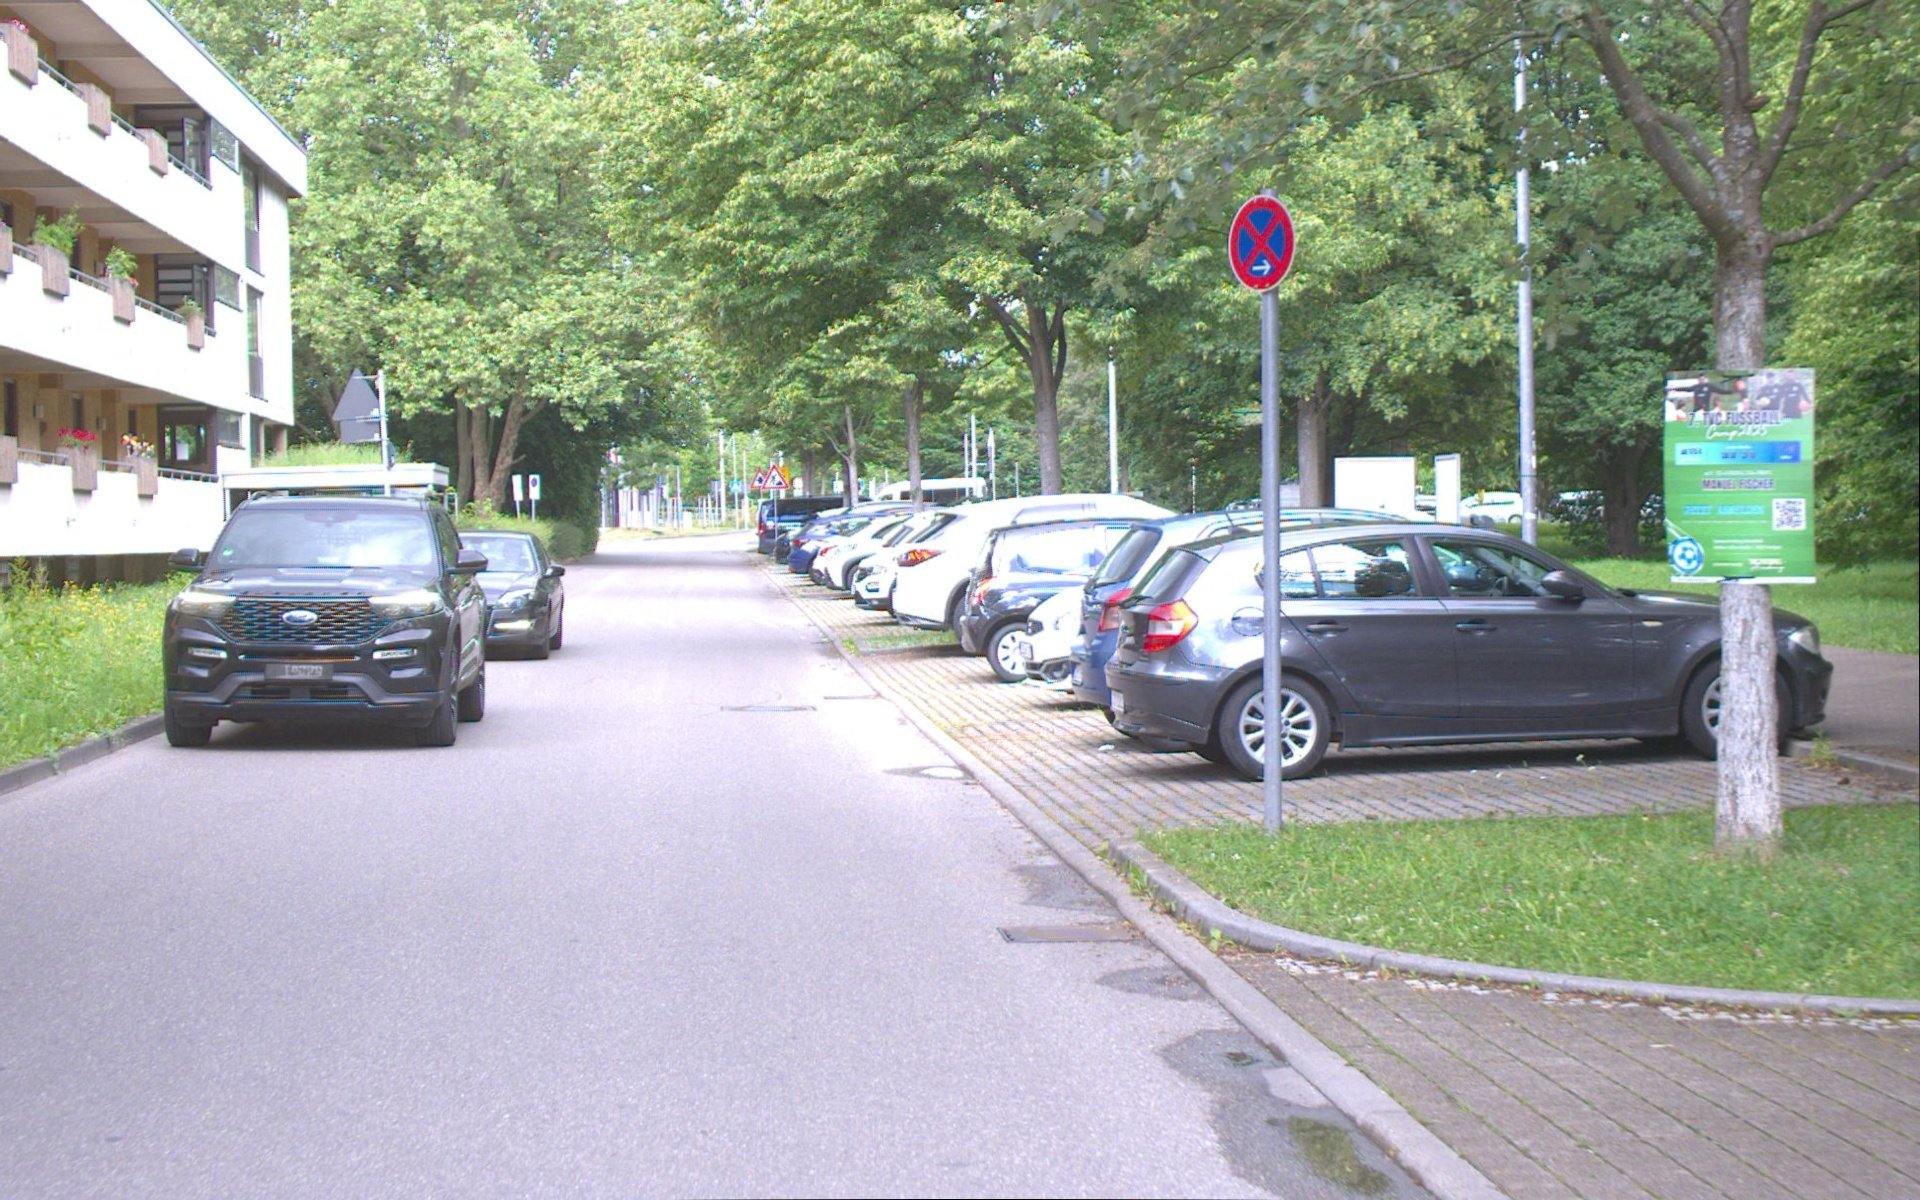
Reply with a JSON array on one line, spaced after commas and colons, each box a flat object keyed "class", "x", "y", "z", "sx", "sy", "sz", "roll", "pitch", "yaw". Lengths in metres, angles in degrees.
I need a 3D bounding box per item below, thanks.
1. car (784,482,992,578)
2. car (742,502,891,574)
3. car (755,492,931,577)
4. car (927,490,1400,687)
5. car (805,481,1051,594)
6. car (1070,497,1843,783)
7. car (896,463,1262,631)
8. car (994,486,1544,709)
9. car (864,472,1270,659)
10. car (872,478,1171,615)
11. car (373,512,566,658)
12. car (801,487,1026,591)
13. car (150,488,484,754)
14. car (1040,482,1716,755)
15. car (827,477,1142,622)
[{"class": "car", "x": -1.520, "y": -1.459, "z": 71.896, "sx": 4.062, "sy": 1.681, "sz": 1.823, "roll": -4, "pitch": 2, "yaw": -8}, {"class": "car", "x": -4.186, "y": -1.805, "z": 100.098, "sx": 4.062, "sy": 1.764, "sz": 1.823, "roll": -4, "pitch": 2, "yaw": -8}, {"class": "car", "x": -2.913, "y": -1.628, "z": 85.084, "sx": 4.062, "sy": 1.764, "sz": 1.823, "roll": -4, "pitch": 2, "yaw": -8}, {"class": "car", "x": 1.870, "y": -0.130, "z": 32.265, "sx": 4.062, "sy": 1.483, "sz": 1.823, "roll": -4, "pitch": 2, "yaw": -8}, {"class": "car", "x": -0.589, "y": -1.116, "z": 61.032, "sx": 4.062, "sy": 1.681, "sz": 1.823, "roll": -4, "pitch": 2, "yaw": -8}, {"class": "car", "x": 2.807, "y": 0.221, "z": 20.064, "sx": 4.062, "sy": 1.429, "sz": 2.000, "roll": -2, "pitch": 0, "yaw": -5}, {"class": "car", "x": 1.402, "y": -0.648, "z": 41.572, "sx": 4.062, "sy": 1.681, "sz": 1.823, "roll": -4, "pitch": 2, "yaw": -8}, {"class": "car", "x": 2.411, "y": -0.048, "z": 27.432, "sx": 4.062, "sy": 1.563, "sz": 1.823, "roll": -2, "pitch": 1, "yaw": -5}, {"class": "car", "x": 1.128, "y": -0.388, "z": 37.448, "sx": 4.062, "sy": 1.681, "sz": 1.823, "roll": -4, "pitch": 2, "yaw": -8}, {"class": "car", "x": 0.880, "y": -0.799, "z": 50.569, "sx": 4.062, "sy": 1.681, "sz": 1.823, "roll": -4, "pitch": 2, "yaw": -8}, {"class": "car", "x": -5.575, "y": -0.210, "z": 39.517, "sx": 1.968, "sy": 1.570, "sz": 4.339, "roll": -1, "pitch": 1, "yaw": -5}, {"class": "car", "x": -0.923, "y": -1.182, "z": 66.624, "sx": 4.062, "sy": 1.681, "sz": 1.823, "roll": -4, "pitch": 2, "yaw": -8}, {"class": "car", "x": -4.541, "y": 0.089, "z": 24.873, "sx": 1.968, "sy": 1.741, "sz": 4.339, "roll": -1, "pitch": 1, "yaw": -5}, {"class": "car", "x": 2.675, "y": 0.117, "z": 22.582, "sx": 4.062, "sy": 1.563, "sz": 1.823, "roll": -2, "pitch": 0, "yaw": -5}, {"class": "car", "x": 0.318, "y": -0.718, "z": 47.934, "sx": 4.062, "sy": 1.681, "sz": 1.823, "roll": -4, "pitch": 2, "yaw": -8}]
